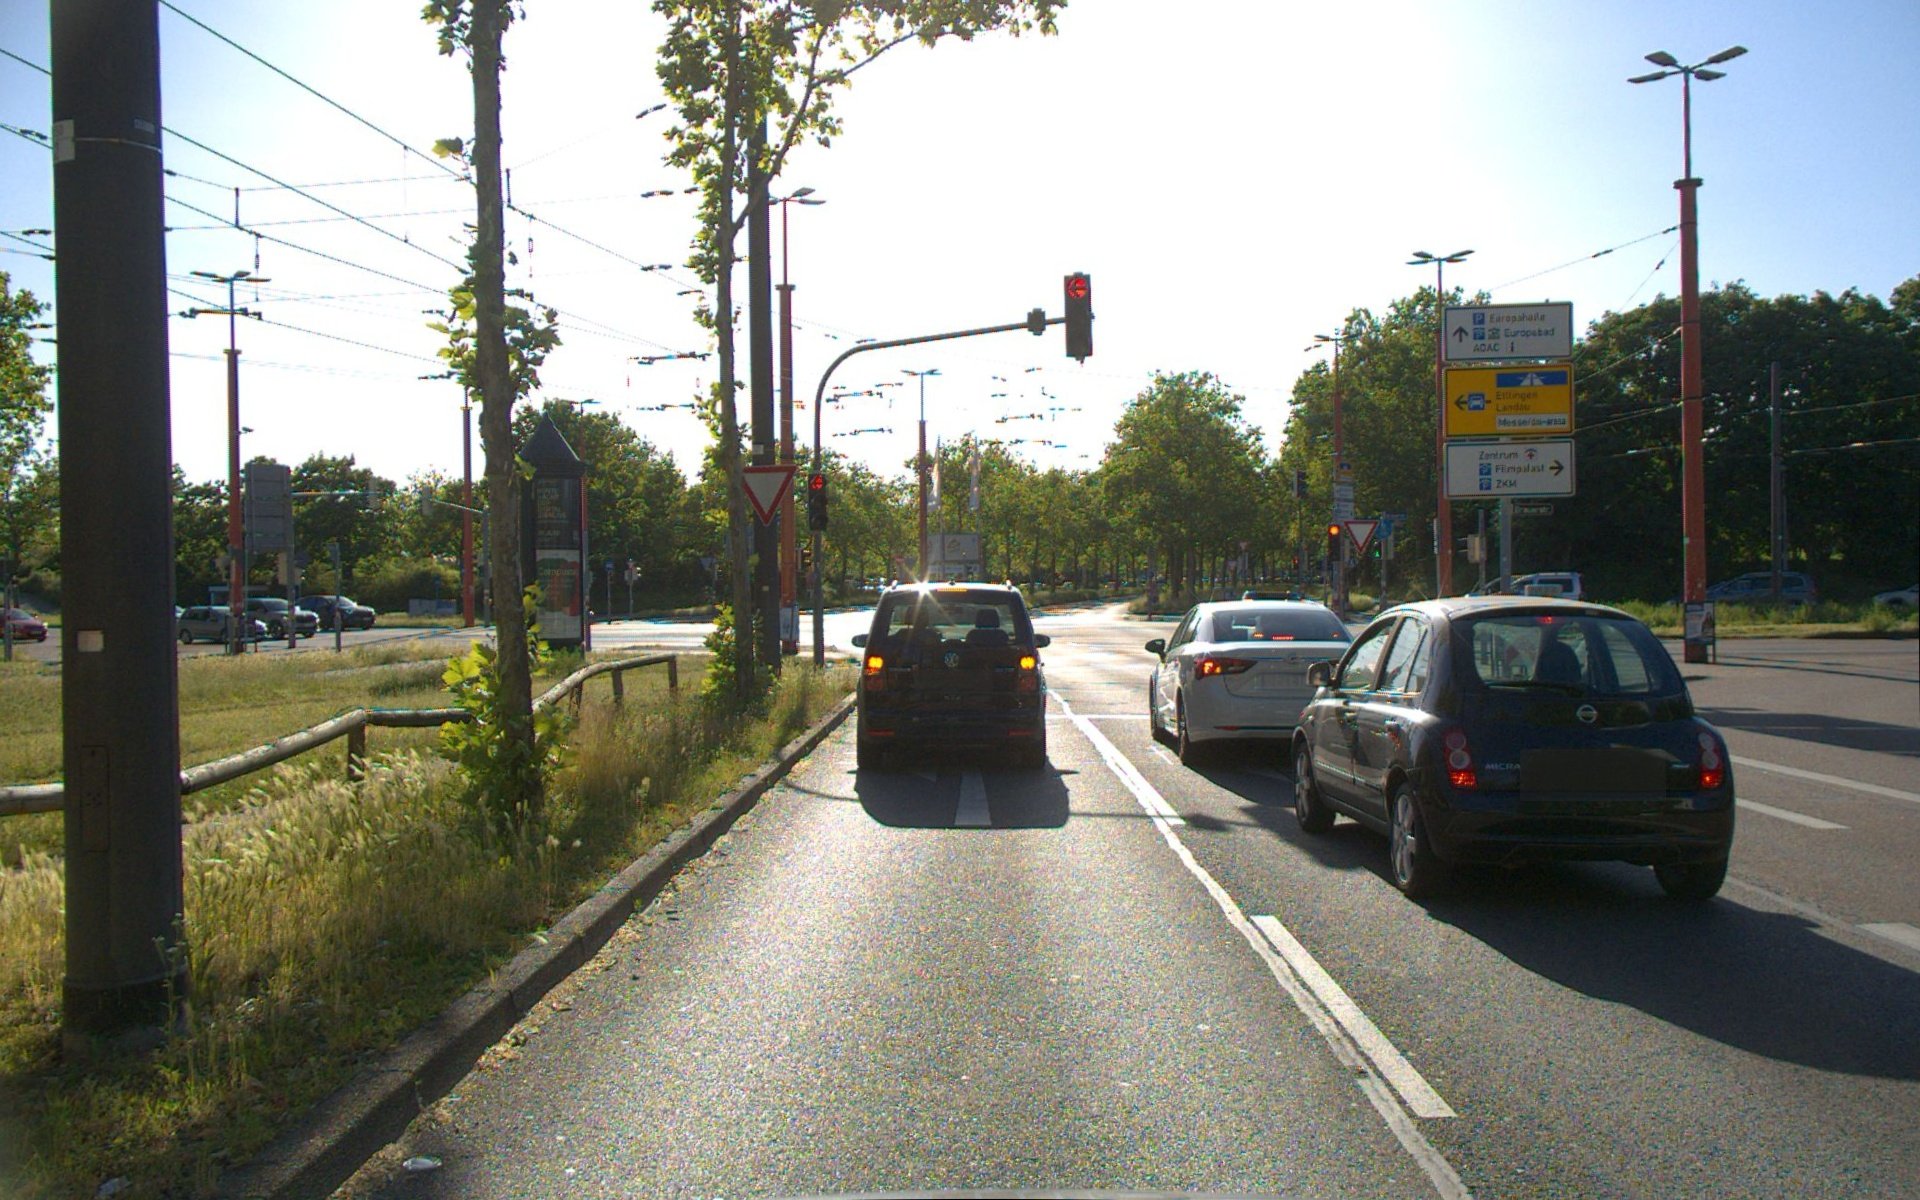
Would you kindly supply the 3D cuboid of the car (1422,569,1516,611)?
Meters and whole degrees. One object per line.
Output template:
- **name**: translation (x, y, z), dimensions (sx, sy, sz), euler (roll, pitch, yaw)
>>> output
- **car**: translation (21.307, -0.407, 69.194), dimensions (3.570, 1.684, 1.679), euler (1, 0, 25)

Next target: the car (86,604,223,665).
- **car**: translation (-21.723, 0.895, 44.793), dimensions (1.728, 1.538, 4.101), euler (0, 0, -1)

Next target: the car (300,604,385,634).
- **car**: translation (-29.107, 0.884, 77.964), dimensions (3.913, 1.353, 1.694), euler (0, 0, 31)

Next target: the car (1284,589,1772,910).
- **car**: translation (3.079, 0.710, 9.736), dimensions (1.620, 1.526, 3.614), euler (1, 0, 0)

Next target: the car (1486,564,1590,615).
- **car**: translation (22.738, -0.426, 65.078), dimensions (3.755, 1.923, 1.763), euler (1, 0, 24)

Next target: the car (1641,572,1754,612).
- **car**: translation (29.130, -0.313, 65.351), dimensions (4.040, 1.537, 1.821), euler (1, 0, 26)

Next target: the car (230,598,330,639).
- **car**: translation (-28.914, 0.779, 70.282), dimensions (3.913, 1.673, 1.996), euler (0, 0, 31)

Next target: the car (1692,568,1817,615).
- **car**: translation (29.464, -0.316, 61.410), dimensions (4.097, 1.673, 1.758), euler (1, 0, 26)

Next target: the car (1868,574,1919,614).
- **car**: translation (36.000, -0.198, 61.471), dimensions (3.887, 1.466, 1.685), euler (1, 0, 27)

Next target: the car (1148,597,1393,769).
- **car**: translation (2.898, 0.709, 16.276), dimensions (1.685, 1.463, 4.198), euler (0, 0, 1)

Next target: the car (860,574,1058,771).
- **car**: translation (-0.037, 0.610, 15.962), dimensions (1.666, 1.650, 3.896), euler (-1, 0, -1)

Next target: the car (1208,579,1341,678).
- **car**: translation (5.704, 0.484, 30.451), dimensions (1.760, 1.685, 4.115), euler (-1, 0, 1)

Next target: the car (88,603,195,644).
- **car**: translation (-34.440, 0.980, 69.582), dimensions (4.091, 1.640, 1.867), euler (0, 0, 25)

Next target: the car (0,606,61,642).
- **car**: translation (-41.656, 1.058, 72.751), dimensions (3.908, 1.540, 1.731), euler (0, 0, 25)
